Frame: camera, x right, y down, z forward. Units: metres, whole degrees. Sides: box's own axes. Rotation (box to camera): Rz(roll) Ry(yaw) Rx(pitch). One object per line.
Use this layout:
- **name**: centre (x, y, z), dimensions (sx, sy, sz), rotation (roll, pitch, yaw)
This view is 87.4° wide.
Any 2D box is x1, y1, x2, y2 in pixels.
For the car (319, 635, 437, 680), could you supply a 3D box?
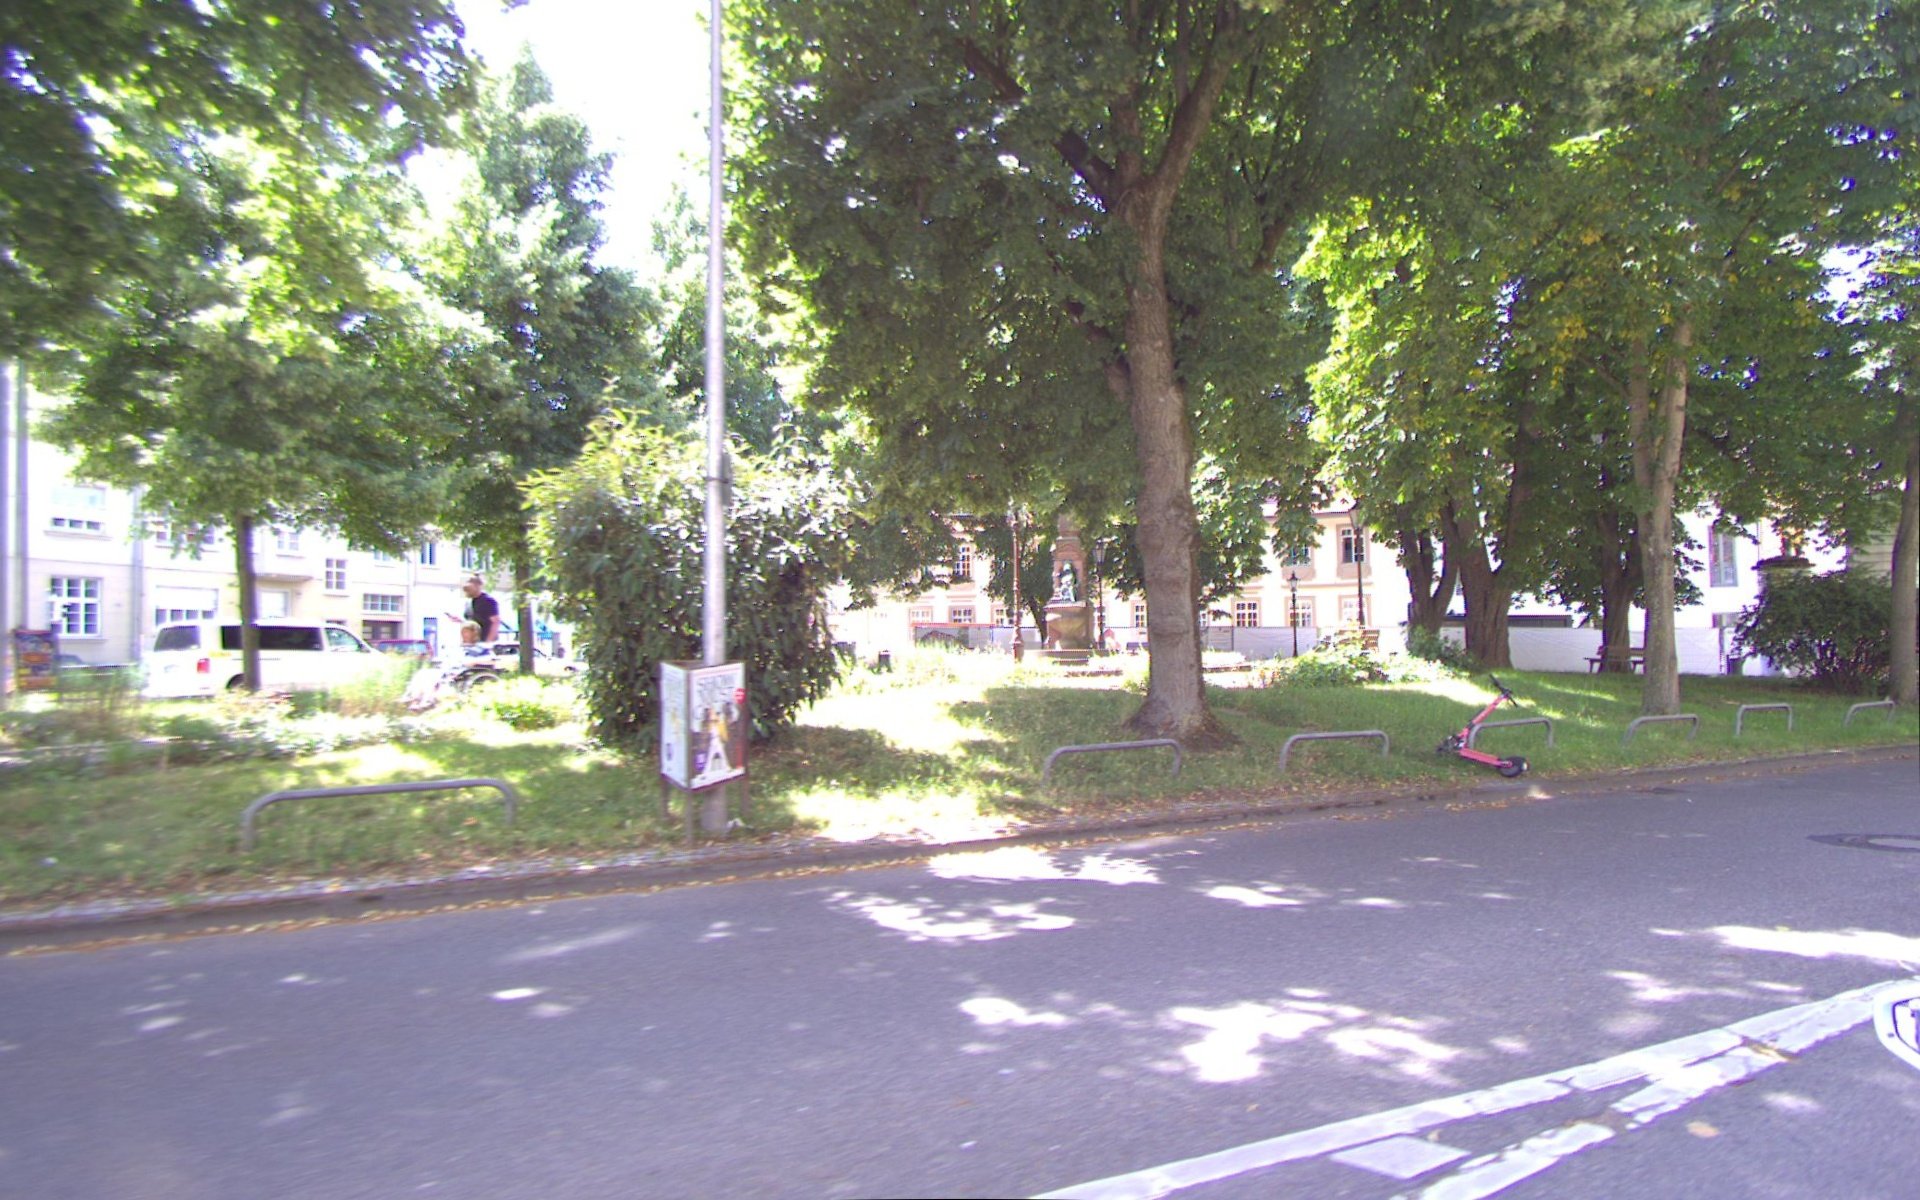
- **car**: centre (-27.136, 2.638, 47.045), dimensions (1.822, 1.936, 4.773), rotation (-3, -3, 17)

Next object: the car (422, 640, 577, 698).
- **car**: centre (-14.068, 2.076, 31.024), dimensions (1.753, 1.645, 4.487), rotation (-1, -2, 19)

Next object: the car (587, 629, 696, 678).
- **car**: centre (-11.877, 1.978, 37.757), dimensions (1.753, 1.715, 4.201), rotation (-1, -2, 19)

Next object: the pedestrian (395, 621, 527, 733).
- **pedestrian**: centre (-6.080, 0.910, 12.261), dimensions (0.893, 1.268, 1.145), rotation (-2, -1, 33)

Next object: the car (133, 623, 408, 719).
- **car**: centre (-16.223, 1.619, 24.067), dimensions (2.015, 2.029, 5.250), rotation (-1, -2, 19)

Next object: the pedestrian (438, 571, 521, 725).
- **pedestrian**: centre (-6.276, 0.618, 13.125), dimensions (0.737, 1.936, 0.682), rotation (-2, -1, 33)

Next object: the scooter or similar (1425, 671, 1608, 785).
- **scooter or similar**: centre (6.493, 1.445, 11.744), dimensions (1.436, 1.005, 1.264), rotation (2, 5, -33)

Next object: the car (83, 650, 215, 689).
- **car**: centre (-30.189, 2.578, 37.516), dimensions (1.575, 1.294, 3.588), rotation (-3, -3, 17)
